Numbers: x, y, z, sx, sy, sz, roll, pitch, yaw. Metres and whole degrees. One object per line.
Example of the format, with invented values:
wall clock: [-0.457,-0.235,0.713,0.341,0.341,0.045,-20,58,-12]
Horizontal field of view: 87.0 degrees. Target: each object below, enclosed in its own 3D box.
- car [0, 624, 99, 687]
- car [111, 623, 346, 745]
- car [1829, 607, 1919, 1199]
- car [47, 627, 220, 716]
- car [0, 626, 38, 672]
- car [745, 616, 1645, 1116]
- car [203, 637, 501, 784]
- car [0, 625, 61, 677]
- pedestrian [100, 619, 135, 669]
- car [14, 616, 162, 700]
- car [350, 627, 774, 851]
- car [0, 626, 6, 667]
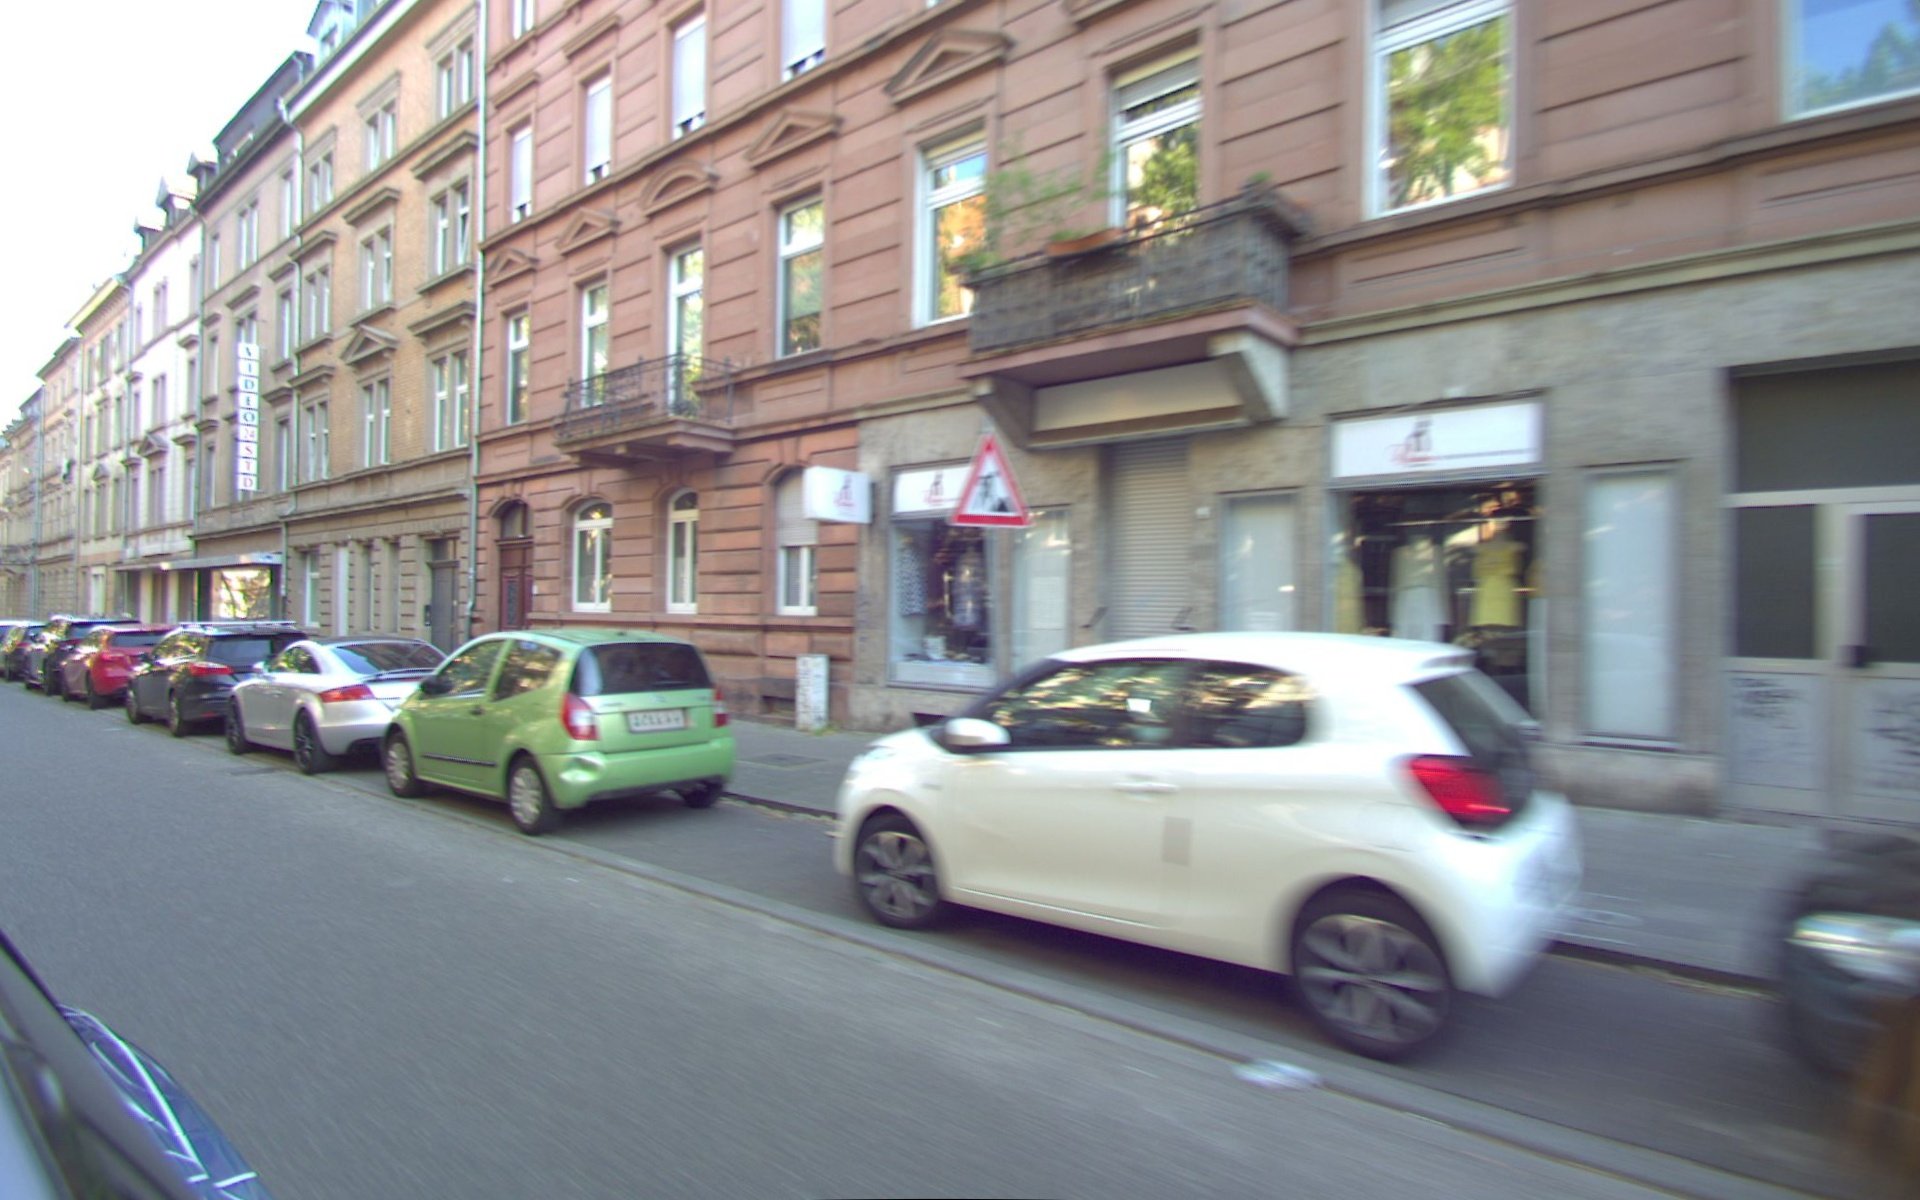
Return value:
car: [-23.821,1.377,26.082,4.487,1.484,1.842,-1,-2,42]
car: [-10.747,1.103,14.743,4.420,1.488,1.802,-1,-1,41]
car: [4.168,0.756,1.739,3.997,1.484,1.631,-1,0,40]
car: [-15.583,1.249,18.999,4.311,1.436,1.802,-1,-1,41]
car: [-32.033,1.594,33.294,4.538,1.455,1.867,-1,-2,39]
car: [0.833,0.847,4.930,3.997,1.484,1.566,-1,-2,40]
car: [-6.964,1.100,11.423,4.099,1.333,1.687,-1,-2,41]
car: [-28.616,1.501,30.457,4.084,1.484,1.739,-1,-2,40]
pedestrian: [-27.951,1.442,33.574,1.017,1.644,0.688,-1,-2,39]
car: [-18.902,1.182,21.867,4.311,1.612,1.802,-1,-1,41]
car: [-3.491,0.961,8.537,3.957,1.450,1.687,-1,-2,41]
car: [-37.119,1.729,37.742,4.241,1.484,1.729,-1,-2,40]
